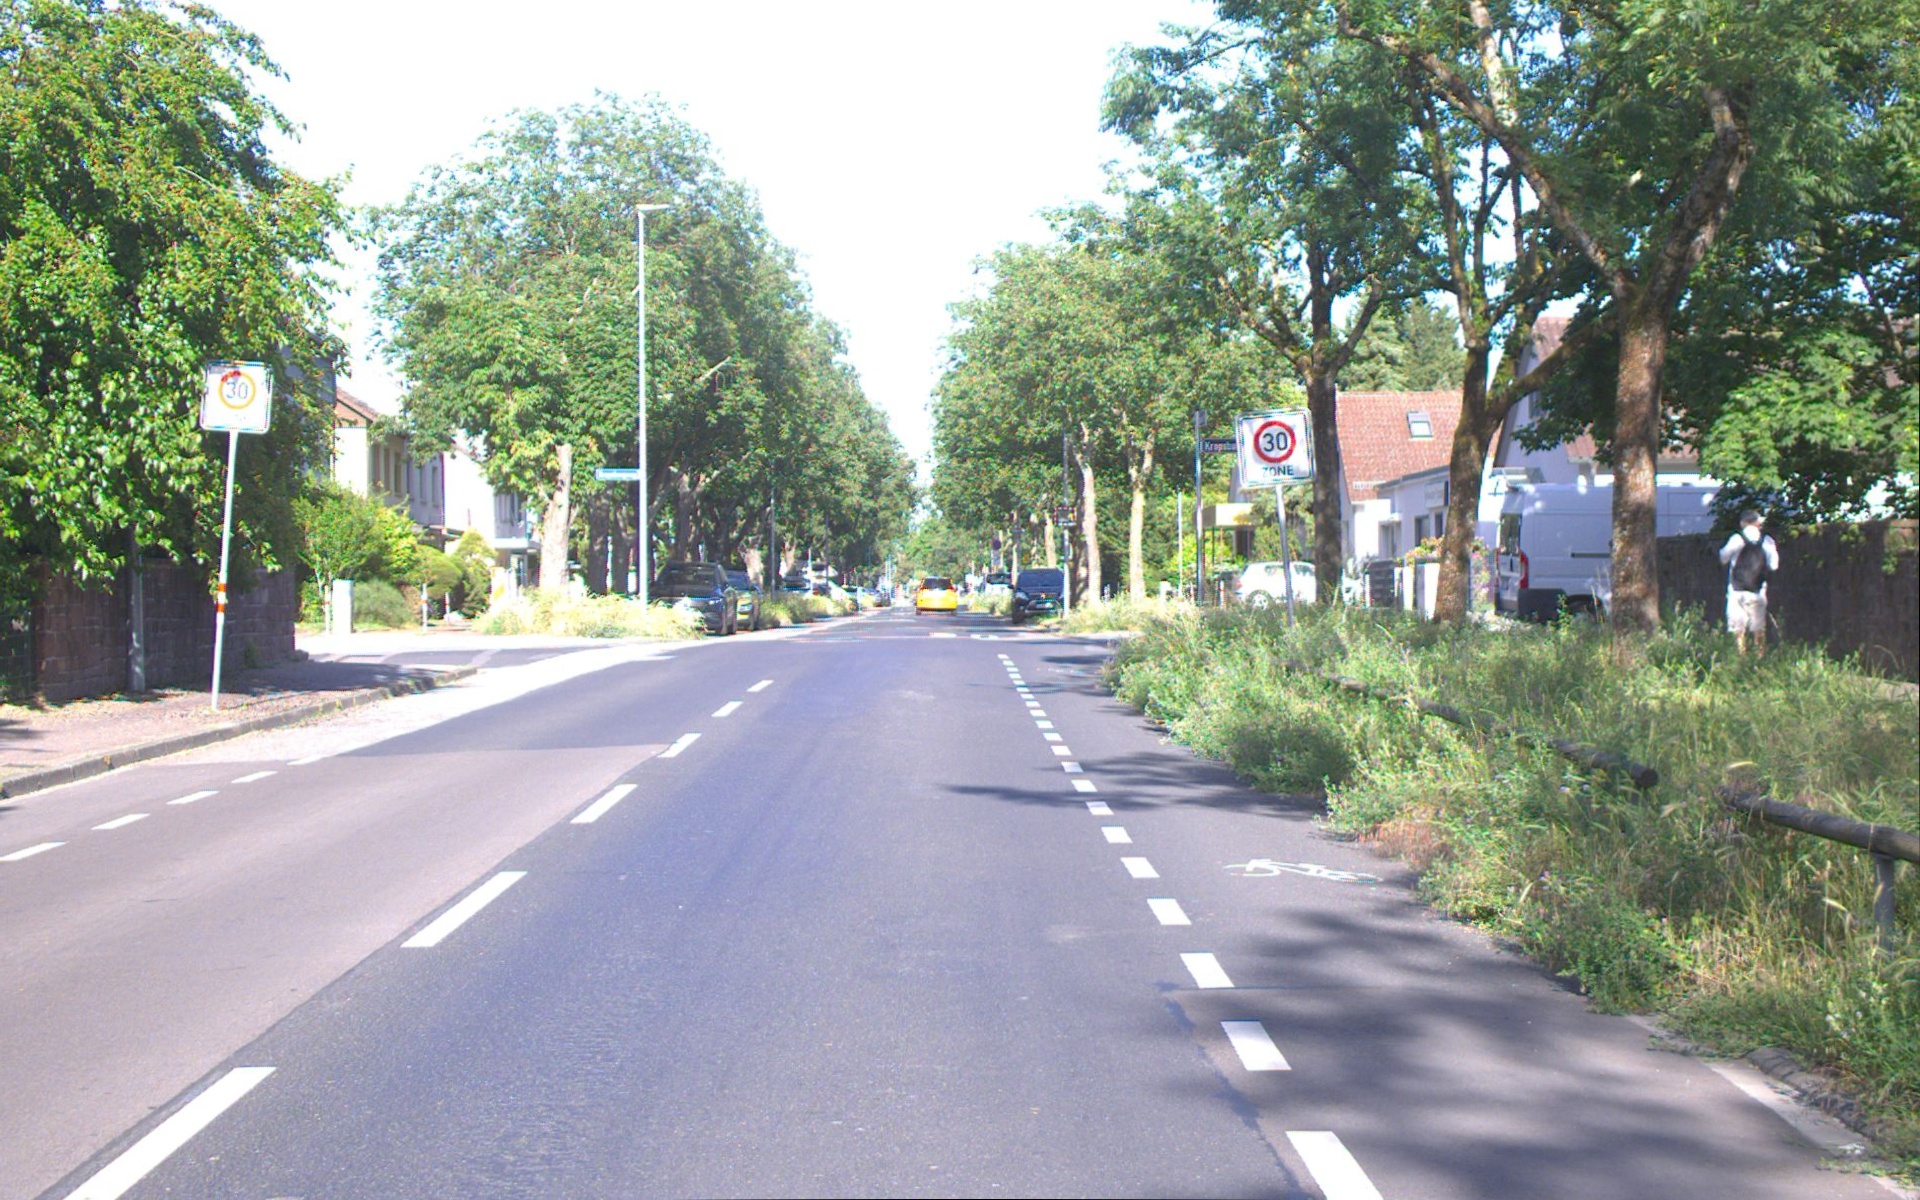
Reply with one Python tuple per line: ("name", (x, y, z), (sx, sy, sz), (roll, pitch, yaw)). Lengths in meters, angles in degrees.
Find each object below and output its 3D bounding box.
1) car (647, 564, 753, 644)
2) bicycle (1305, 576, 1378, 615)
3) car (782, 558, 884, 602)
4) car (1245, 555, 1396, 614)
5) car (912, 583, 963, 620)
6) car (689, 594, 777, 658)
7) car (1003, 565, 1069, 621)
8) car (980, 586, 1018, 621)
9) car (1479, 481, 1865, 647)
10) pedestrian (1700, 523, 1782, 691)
("car", (-5.889, 0.117, 78.443), (1.953, 1.721, 4.874), (1, -1, 1))
("bicycle", (10.583, -0.130, 95.455), (1.923, 0.995, 0.576), (-2, 1, -2))
("car", (-6.932, -1.089, 187.973), (5.498, 2.240, 2.517), (1, 1, -2))
("car", (10.202, -0.441, 97.436), (3.987, 1.483, 1.902), (-2, 2, -1))
("car", (-0.945, 0.066, 142.378), (1.888, 1.474, 3.888), (2, 0, -2))
("car", (-5.933, 0.705, 90.390), (1.939, 1.603, 4.383), (1, -1, 1))
("car", (2.307, -0.202, 105.475), (1.853, 1.620, 4.469), (-2, -1, -1))
("car", (1.999, 0.176, 178.889), (1.902, 1.768, 4.301), (1, 0, 0))
("car", (11.272, -0.577, 54.698), (5.594, 2.530, 2.266), (0, 1, -3))
("pedestrian", (8.120, 0.066, 35.765), (0.637, 1.700, 0.612), (-3, 1, -1))
